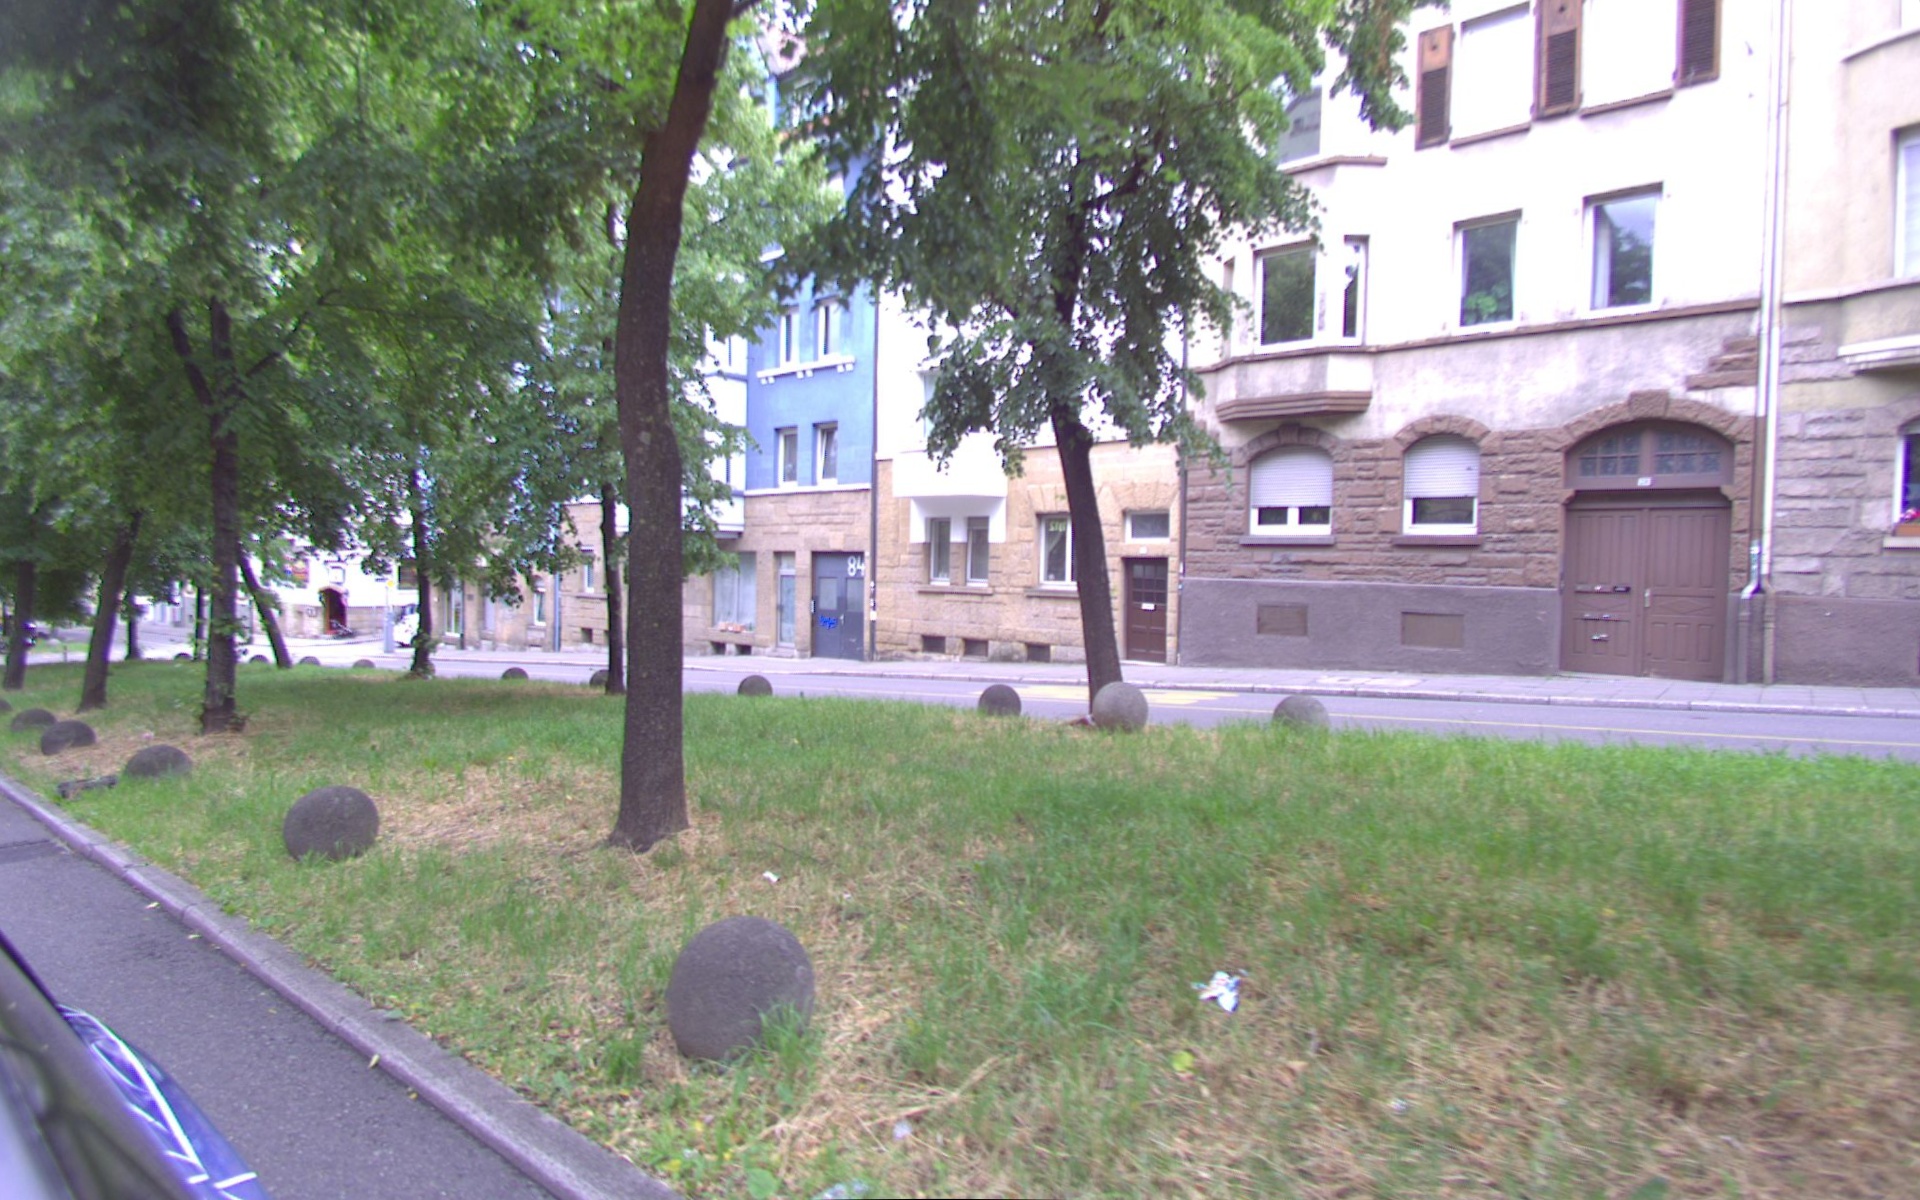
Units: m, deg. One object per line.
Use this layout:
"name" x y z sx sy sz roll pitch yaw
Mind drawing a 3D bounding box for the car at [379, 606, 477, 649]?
"car" -27.258 1.384 51.960 1.870 1.712 3.958 0 6 41

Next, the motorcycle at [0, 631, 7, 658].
"motorcycle" -40.938 1.890 42.212 0.551 1.104 1.712 2 3 44

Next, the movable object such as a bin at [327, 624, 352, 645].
"movable object such as a bin" -31.229 1.738 50.912 0.667 1.001 0.877 0 3 39

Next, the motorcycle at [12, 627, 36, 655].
"motorcycle" -41.159 1.805 44.526 0.740 1.081 1.853 -1 3 -42

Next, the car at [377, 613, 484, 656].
"car" -24.733 1.557 47.382 1.869 1.480 3.961 2 6 37
